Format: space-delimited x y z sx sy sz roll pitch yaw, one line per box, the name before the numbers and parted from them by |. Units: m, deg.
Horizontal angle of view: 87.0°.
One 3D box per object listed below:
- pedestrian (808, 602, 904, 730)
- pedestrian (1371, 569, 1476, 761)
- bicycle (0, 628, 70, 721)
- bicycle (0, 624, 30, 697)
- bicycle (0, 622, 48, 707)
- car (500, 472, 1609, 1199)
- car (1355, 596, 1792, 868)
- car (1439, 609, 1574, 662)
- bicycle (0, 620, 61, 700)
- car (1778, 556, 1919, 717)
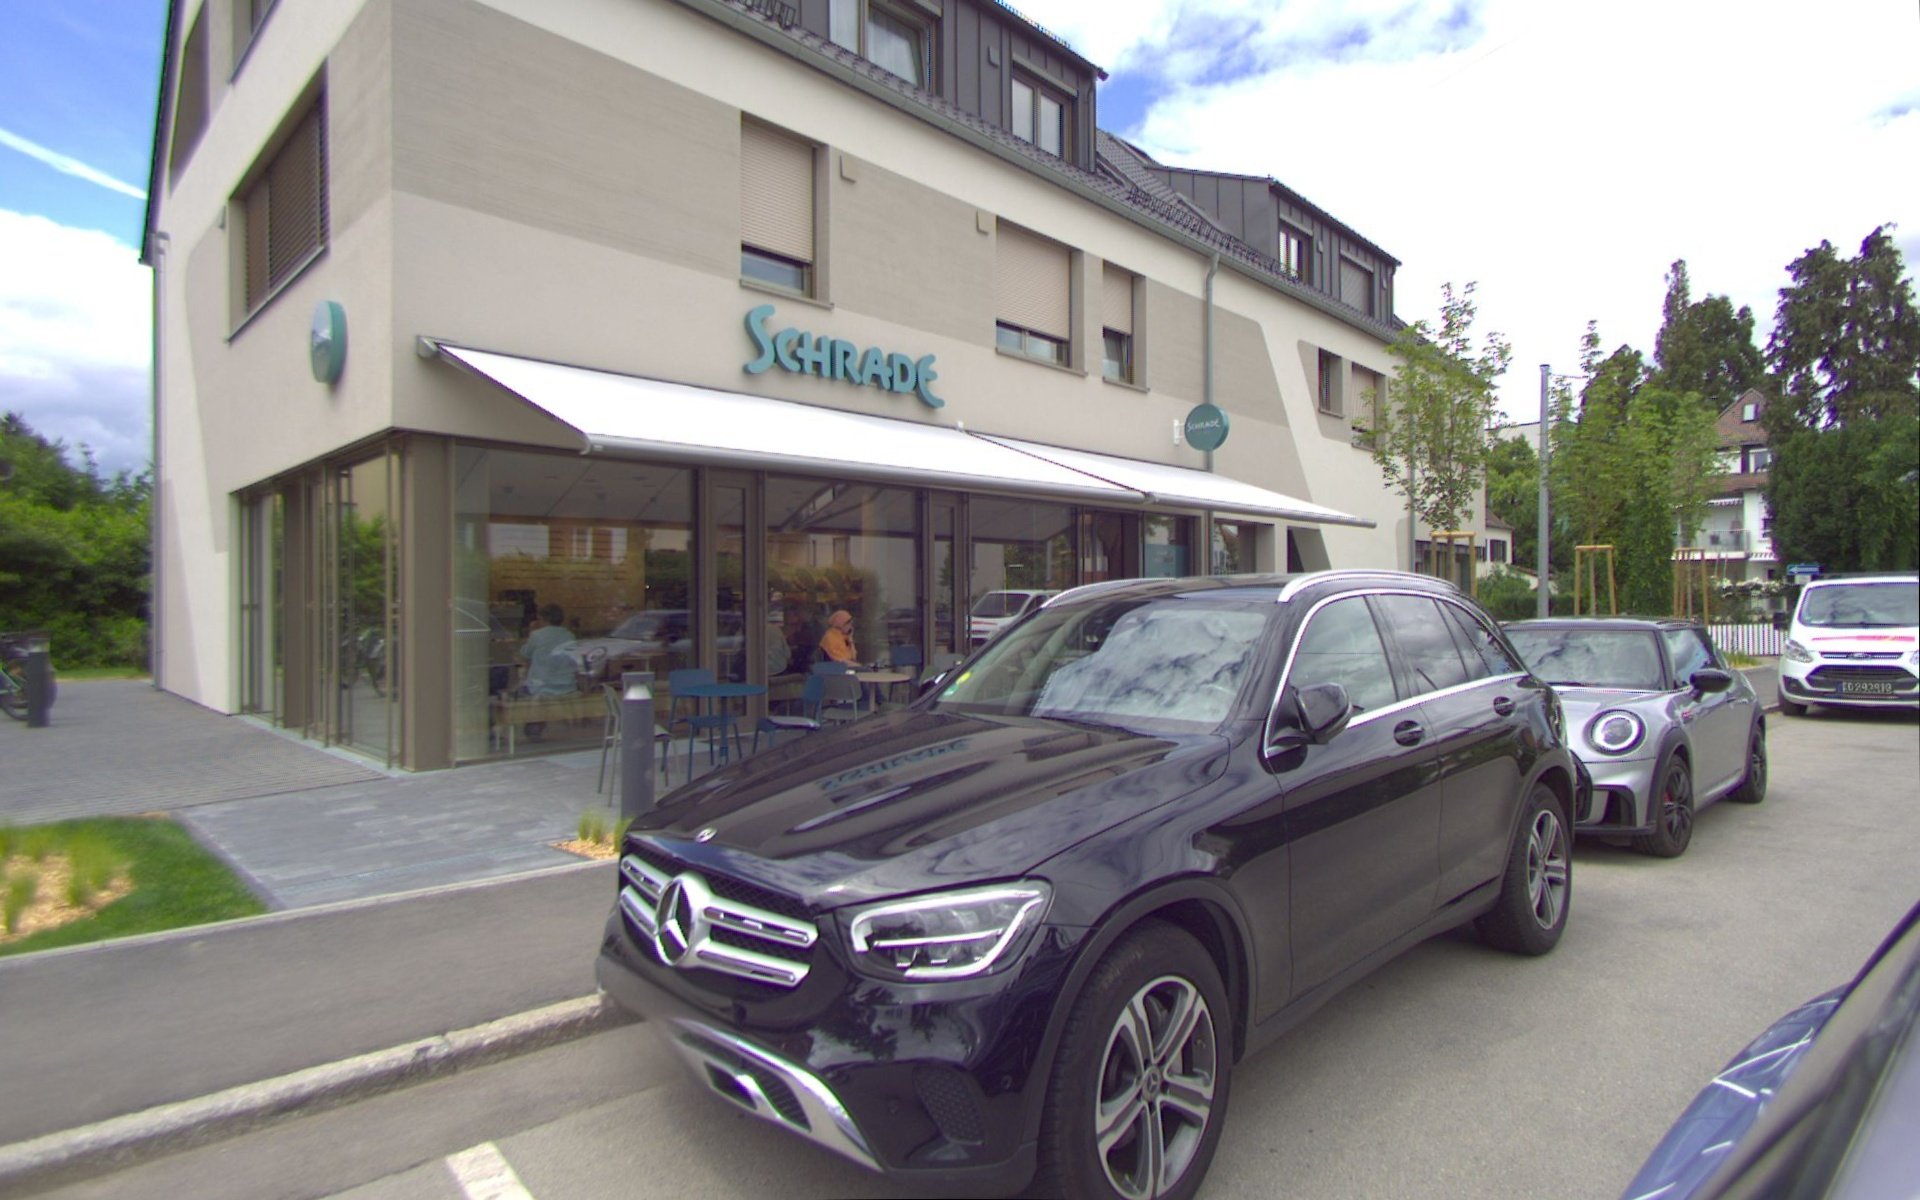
pedestrian | -1.077 0.653 10.472 0.750 1.254 0.681 -1 -1 44
pedestrian | 4.305 0.569 9.400 0.648 1.690 0.677 0 0 -41
bicycle | -11.720 0.885 12.113 1.750 1.065 0.461 0 0 1
bicycle | -15.203 0.905 15.265 1.898 1.065 0.461 0 0 -1
bicycle | -13.221 0.853 13.484 1.750 1.097 0.461 0 0 1
car | 0.811 0.624 3.930 4.391 1.657 1.848 0 -1 -43
car | 4.620 0.730 7.400 3.769 1.471 1.709 0 -1 -42
car | 19.510 1.289 36.231 3.829 1.617 1.847 -6 -4 43
bicycle | -14.124 0.854 14.579 1.898 1.120 0.461 0 0 -1
car | 13.934 0.470 14.894 5.470 2.040 1.996 0 -2 -41
